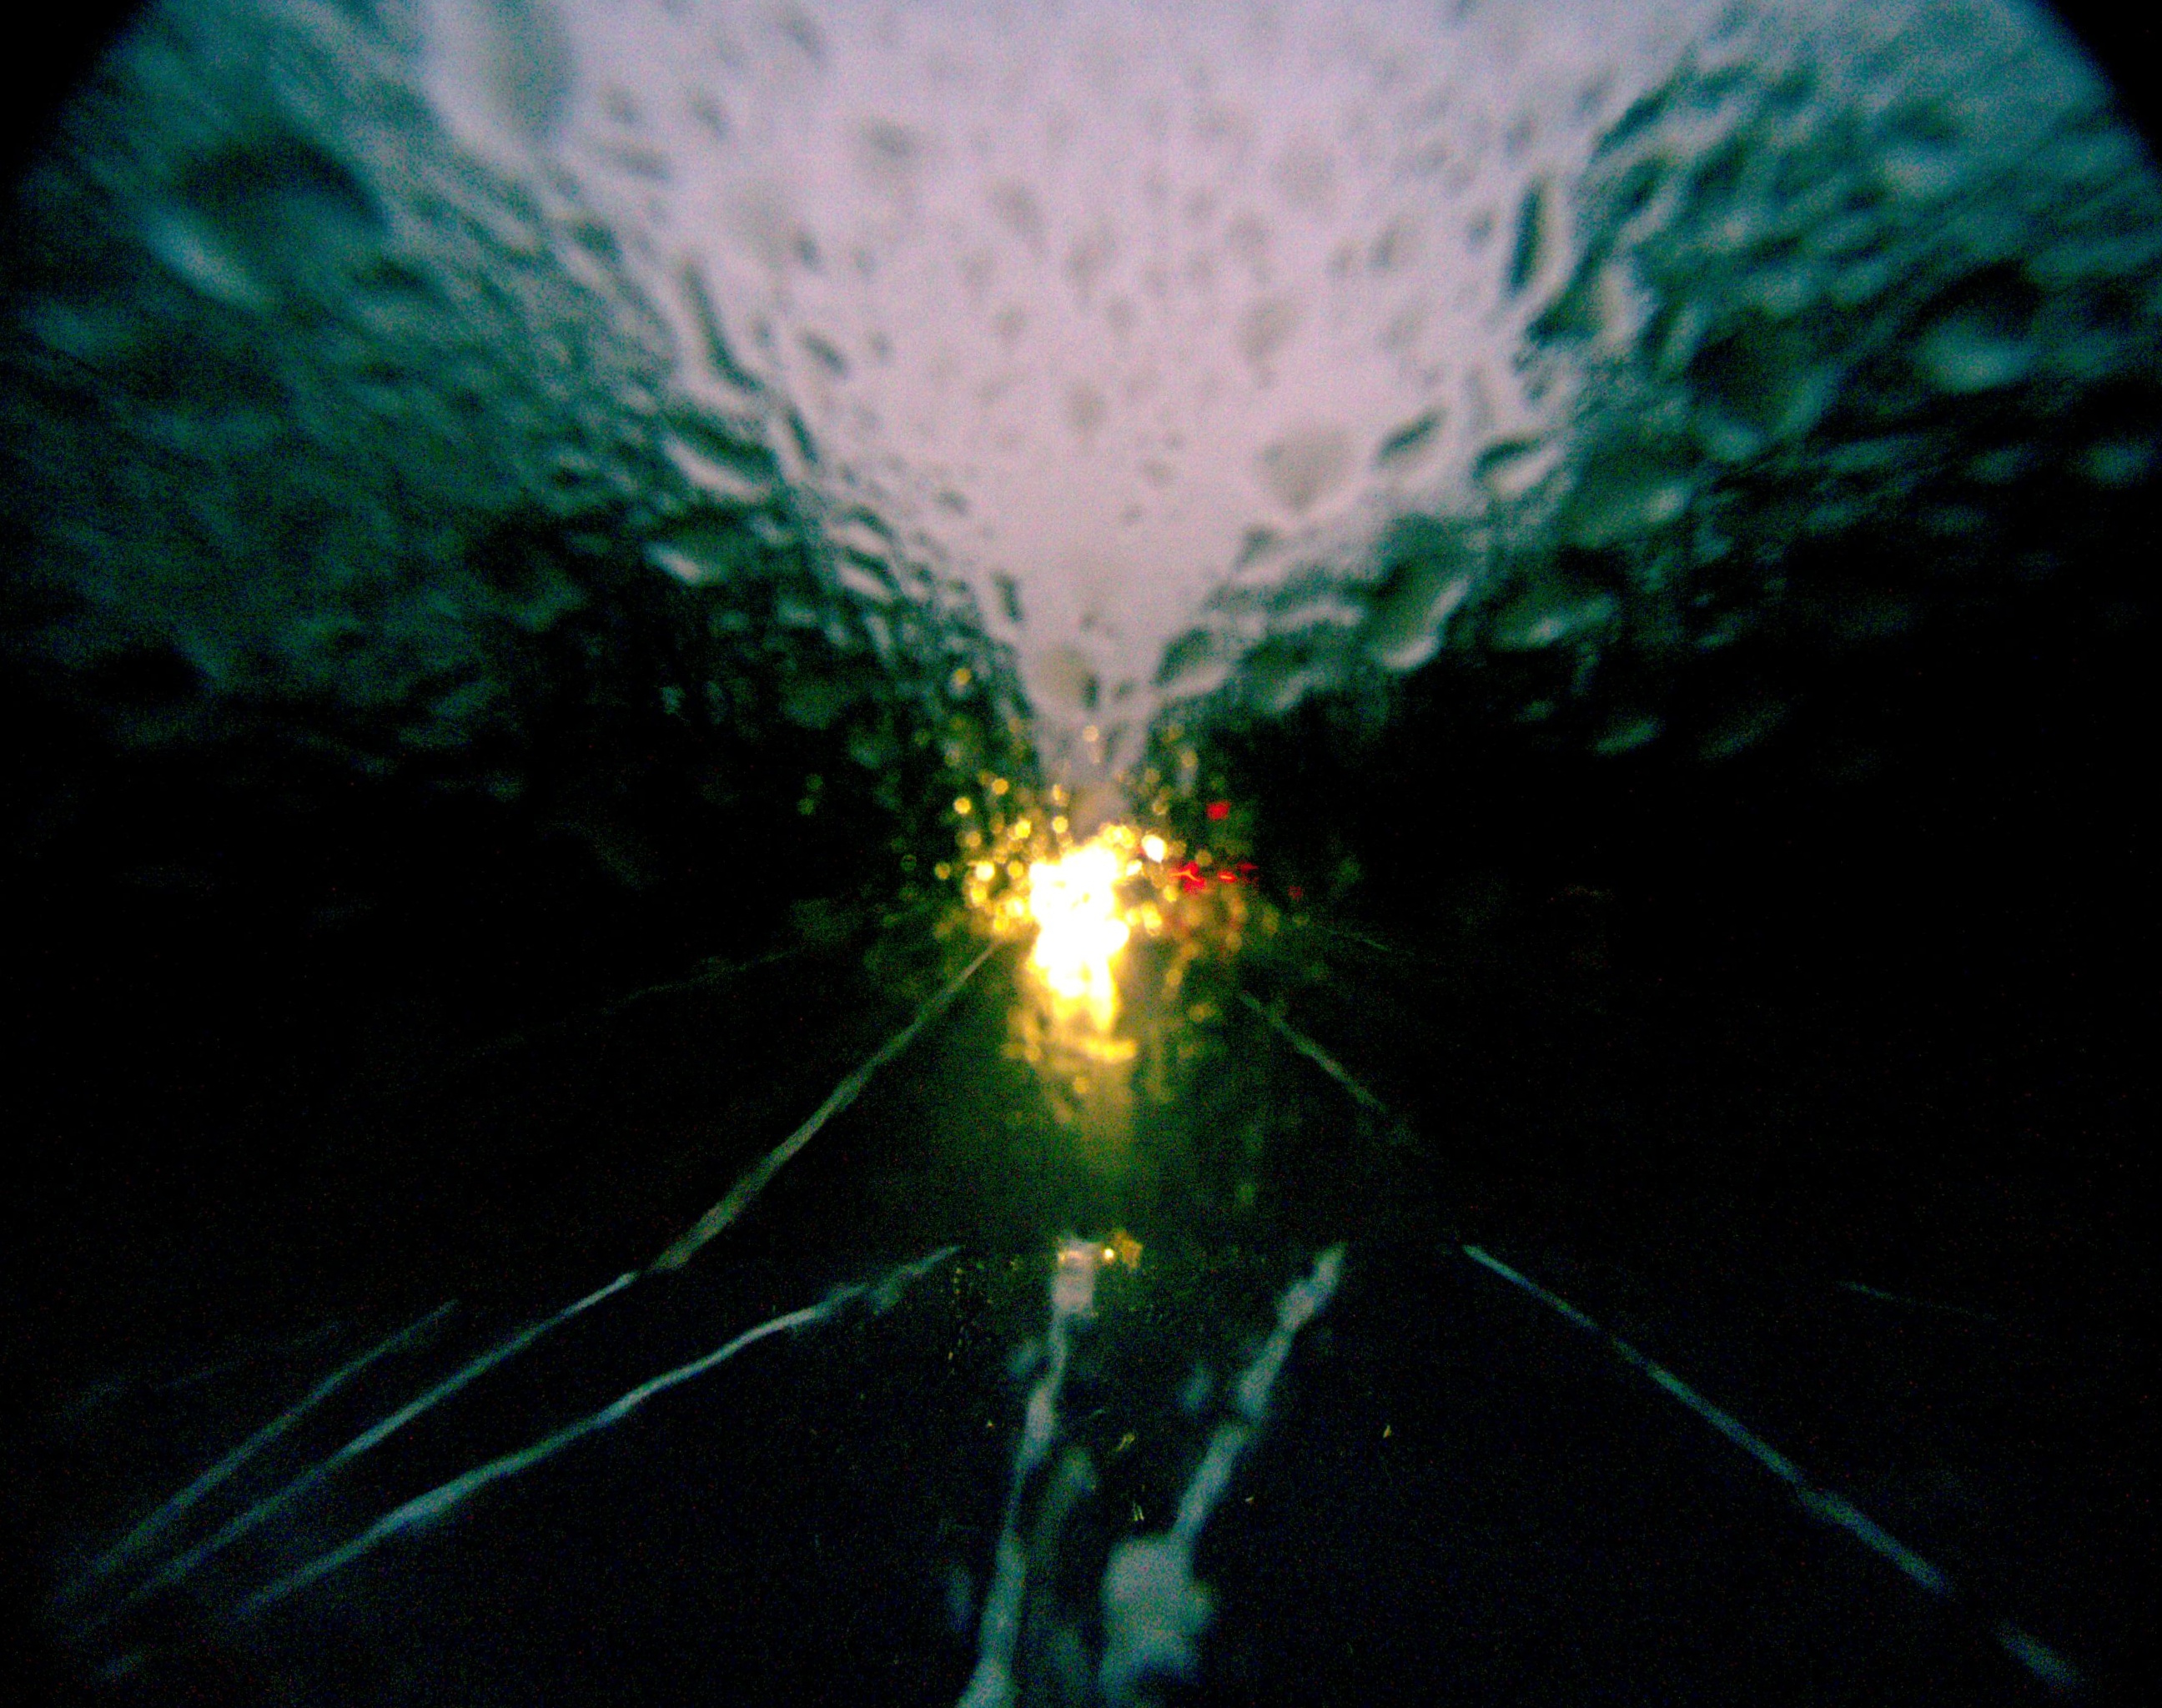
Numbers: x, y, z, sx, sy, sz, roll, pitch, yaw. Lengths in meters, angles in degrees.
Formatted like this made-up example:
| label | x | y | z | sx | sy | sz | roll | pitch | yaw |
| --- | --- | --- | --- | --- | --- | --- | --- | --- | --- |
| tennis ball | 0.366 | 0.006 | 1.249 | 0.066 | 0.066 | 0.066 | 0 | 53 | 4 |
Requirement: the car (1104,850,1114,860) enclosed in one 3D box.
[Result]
| label | x | y | z | sx | sy | sz | roll | pitch | yaw |
| --- | --- | --- | --- | --- | --- | --- | --- | --- | --- |
| car | 5.864 | 0.218 | 159.179 | 1.998 | 2.002 | 3.999 | -2 | 1 | 0 |

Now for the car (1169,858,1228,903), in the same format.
| label | x | y | z | sx | sy | sz | roll | pitch | yaw |
| --- | --- | --- | --- | --- | --- | --- | --- | --- | --- |
| car | 4.003 | 0.865 | 26.337 | 1.517 | 1.405 | 3.660 | 1 | 0 | 1 |

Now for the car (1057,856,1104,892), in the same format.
| label | x | y | z | sx | sy | sz | roll | pitch | yaw |
| --- | --- | --- | --- | --- | --- | --- | --- | --- | --- |
| car | 0.022 | 0.815 | 32.168 | 1.845 | 1.390 | 4.000 | -1 | 0 | 1 |

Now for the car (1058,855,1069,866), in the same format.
| label | x | y | z | sx | sy | sz | roll | pitch | yaw |
| --- | --- | --- | --- | --- | --- | --- | --- | --- | --- |
| car | -3.564 | 1.317 | 157.039 | 1.998 | 2.002 | 3.999 | -2 | 1 | 0 |
